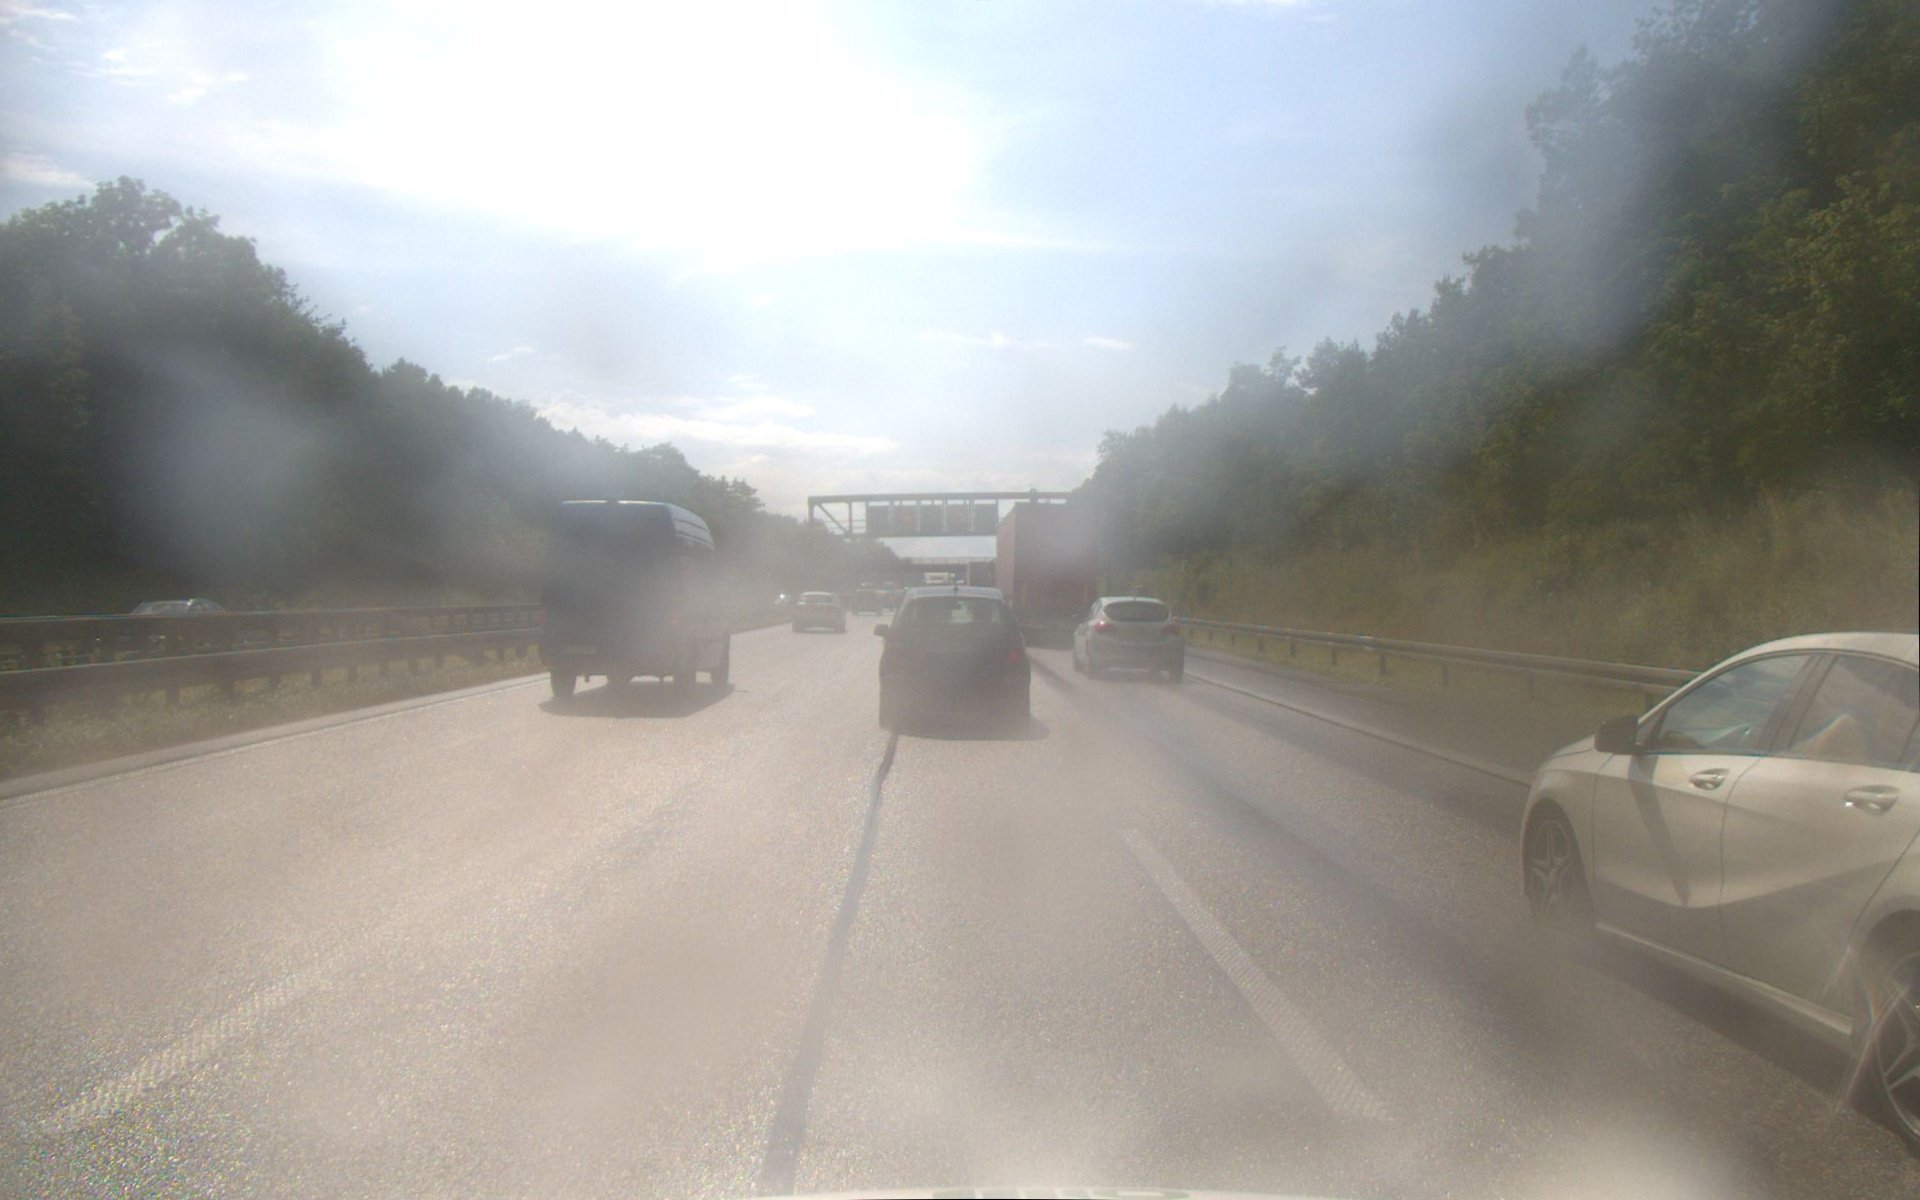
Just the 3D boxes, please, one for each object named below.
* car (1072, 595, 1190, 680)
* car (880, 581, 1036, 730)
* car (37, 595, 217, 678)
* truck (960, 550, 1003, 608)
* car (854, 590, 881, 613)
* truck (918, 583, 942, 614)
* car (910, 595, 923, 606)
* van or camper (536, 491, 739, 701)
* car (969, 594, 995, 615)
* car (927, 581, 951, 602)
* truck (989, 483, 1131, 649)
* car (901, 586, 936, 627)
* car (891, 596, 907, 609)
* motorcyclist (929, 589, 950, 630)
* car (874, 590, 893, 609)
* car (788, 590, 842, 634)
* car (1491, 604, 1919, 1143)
[{"bbox_3d":[3.160,0.661,31.231,1.647,1.467,3.903,1,0,-3],"label":"car"},{"bbox_3d":[-0.100,0.604,19.813,1.683,1.595,3.483,1,0,-3],"label":"car"},{"bbox_3d":[-18.259,0.762,36.455,1.953,1.704,3.999,1,0,-1],"label":"car"},{"bbox_3d":[1.691,-1.704,138.642,3.190,4.558,12.418,1,0,-1],"label":"truck"},{"bbox_3d":[-5.979,0.096,107.460,1.716,1.482,3.388,1,0,-3],"label":"car"},{"bbox_3d":[-2.834,-0.146,156.352,2.148,2.925,4.847,1,0,-3],"label":"truck"},{"bbox_3d":[-5.617,0.053,214.505,1.518,1.289,3.482,1,0,-3],"label":"car"},{"bbox_3d":[-4.591,-0.053,24.390,1.953,2.715,5.384,1,0,-1],"label":"van or camper"},{"bbox_3d":[1.430,0.301,110.411,1.521,1.407,3.208,1,0,-3],"label":"car"},{"bbox_3d":[-1.450,-0.561,113.068,1.521,1.407,3.208,1,0,-3],"label":"car"},{"bbox_3d":[3.083,-0.996,57.002,3.575,4.803,16.775,1,0,-1],"label":"truck"},{"bbox_3d":[-1.908,0.289,75.001,1.501,1.777,3.483,1,0,-3],"label":"car"},{"bbox_3d":[-6.390,0.253,172.905,1.518,1.289,3.482,1,0,-3],"label":"car"},{"bbox_3d":[-0.848,0.391,68.240,0.785,1.662,1.013,1,0,-3],"label":"motorcyclist"},{"bbox_3d":[-6.092,-0.040,131.955,1.431,1.418,3.310,1,0,-3],"label":"car"},{"bbox_3d":[-5.424,0.446,62.231,1.817,1.578,3.483,1,0,-3],"label":"car"},{"bbox_3d":[3.417,0.760,5.831,1.658,1.450,4.219,1,0,-1],"label":"car"}]
